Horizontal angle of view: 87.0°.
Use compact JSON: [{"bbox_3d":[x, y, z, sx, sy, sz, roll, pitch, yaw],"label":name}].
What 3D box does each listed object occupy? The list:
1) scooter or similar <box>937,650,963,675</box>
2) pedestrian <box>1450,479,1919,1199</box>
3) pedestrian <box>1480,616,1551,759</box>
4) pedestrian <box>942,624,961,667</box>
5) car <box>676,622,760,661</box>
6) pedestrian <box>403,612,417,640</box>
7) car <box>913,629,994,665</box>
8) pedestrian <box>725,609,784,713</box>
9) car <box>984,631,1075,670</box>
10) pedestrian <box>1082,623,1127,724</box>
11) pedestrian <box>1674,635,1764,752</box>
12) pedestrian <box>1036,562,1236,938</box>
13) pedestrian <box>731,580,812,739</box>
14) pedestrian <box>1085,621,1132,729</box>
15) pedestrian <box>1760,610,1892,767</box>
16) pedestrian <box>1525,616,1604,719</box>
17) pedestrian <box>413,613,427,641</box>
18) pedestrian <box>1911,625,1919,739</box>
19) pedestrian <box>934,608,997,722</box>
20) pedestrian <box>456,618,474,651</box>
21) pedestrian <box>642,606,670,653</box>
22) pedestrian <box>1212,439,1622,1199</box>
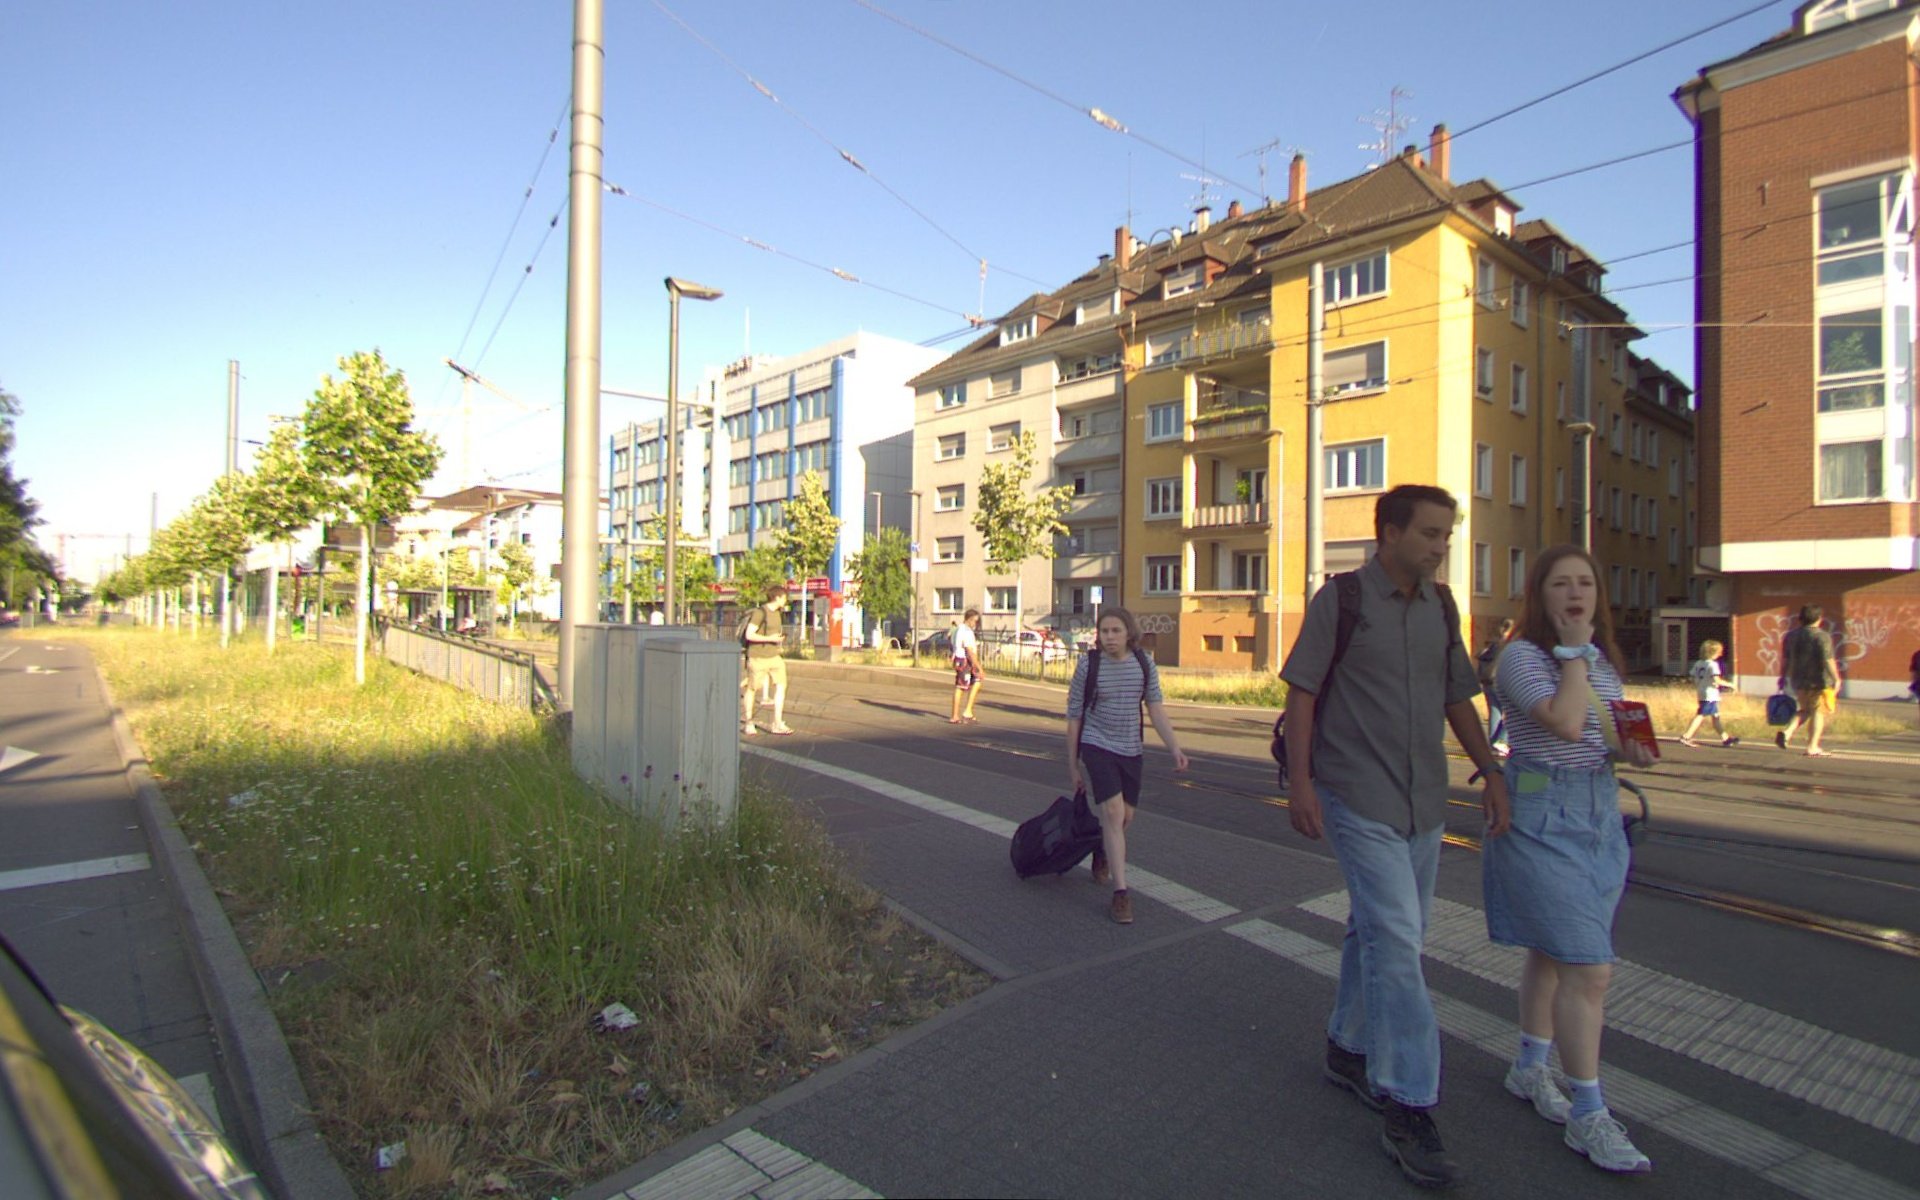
[{"bbox_3d":[-0.458,2.770,44.854,0.479,1.013,1.333,0,0,-35],"label":"scooter or similar"},{"bbox_3d":[1.831,0.570,2.681,0.780,1.653,0.896,0,0,15],"label":"pedestrian"},{"bbox_3d":[6.320,0.967,11.543,0.615,1.547,0.782,0,0,23],"label":"pedestrian"},{"bbox_3d":[-0.376,1.979,44.701,0.553,1.861,0.725,0,0,-35],"label":"pedestrian"},{"bbox_3d":[-10.383,1.731,43.330,1.858,1.519,3.948,0,0,-42],"label":"car"},{"bbox_3d":[-34.594,1.637,63.600,0.650,1.705,0.773,0,0,-39],"label":"pedestrian"},{"bbox_3d":[-0.327,2.163,47.506,1.858,1.519,3.679,0,0,-42],"label":"car"},{"bbox_3d":[-3.502,1.010,17.251,0.775,1.711,0.621,0,0,-39],"label":"pedestrian"},{"bbox_3d":[2.976,2.134,43.927,1.858,1.519,3.679,0,0,-42],"label":"car"},{"bbox_3d":[2.142,1.061,14.975,0.521,1.442,0.633,0,0,22],"label":"pedestrian"},{"bbox_3d":[9.426,1.154,12.575,0.598,1.370,0.598,4,-1,-18],"label":"pedestrian"},{"bbox_3d":[0.864,0.659,4.947,0.776,1.653,0.620,0,0,-44],"label":"pedestrian"},{"bbox_3d":[-2.323,0.706,12.452,0.775,1.878,0.621,0,0,-39],"label":"pedestrian"},{"bbox_3d":[2.095,1.041,14.284,0.521,1.467,0.633,0,0,22],"label":"pedestrian"},{"bbox_3d":[10.164,1.002,11.896,0.885,1.771,0.778,0,0,-12],"label":"pedestrian"},{"bbox_3d":[9.673,1.056,16.221,0.672,1.596,0.844,0,0,-15],"label":"pedestrian"},{"bbox_3d":[-33.043,1.623,61.886,0.649,1.705,0.774,0,0,-36],"label":"pedestrian"},{"bbox_3d":[13.893,1.155,14.109,0.598,1.600,0.791,0,0,-32],"label":"pedestrian"},{"bbox_3d":[0.084,0.934,14.410,0.616,1.561,0.781,-3,-5,27],"label":"pedestrian"},{"bbox_3d":[-26.561,1.841,54.289,0.650,1.705,0.773,0,-1,-44],"label":"pedestrian"},{"bbox_3d":[-11.148,1.082,37.109,0.775,1.685,0.621,0,0,-39],"label":"pedestrian"},{"bbox_3d":[1.178,0.518,2.856,0.780,1.814,0.897,3,2,12],"label":"pedestrian"}]
